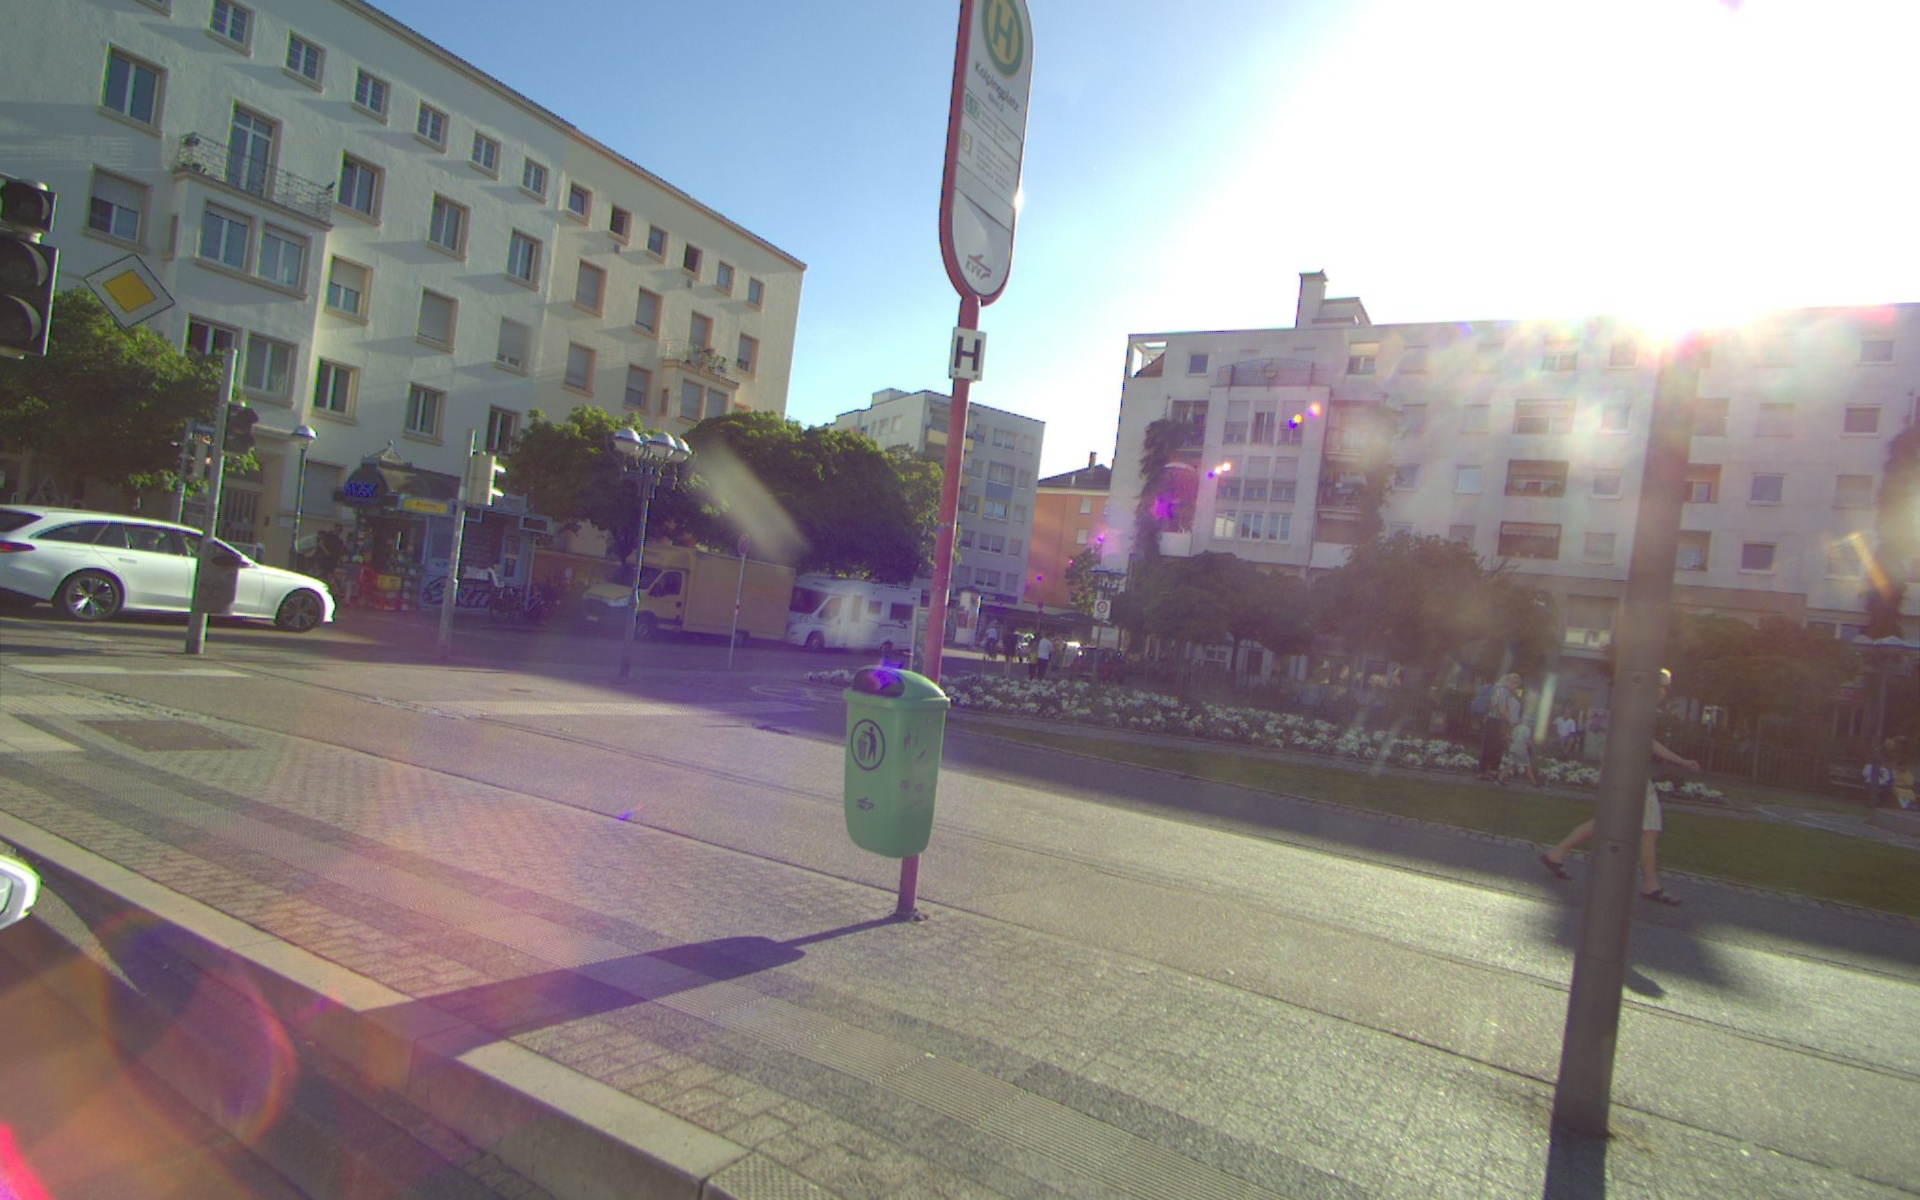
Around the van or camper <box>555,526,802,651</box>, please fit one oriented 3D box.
[{"bbox_3d":[-8.143,-0.192,30.170,2.331,2.780,7.132,9,0,33],"label":"van or camper"}]

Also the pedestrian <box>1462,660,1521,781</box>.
[{"bbox_3d":[8.225,1.860,15.551,0.520,1.765,0.557,6,-1,42],"label":"pedestrian"}]

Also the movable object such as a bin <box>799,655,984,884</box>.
[{"bbox_3d":[-0.271,0.657,4.052,0.481,0.795,0.449,7,0,35],"label":"movable object such as a bin"}]

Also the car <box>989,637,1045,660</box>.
[{"bbox_3d":[3.940,3.335,69.142,1.799,1.165,3.986,6,-2,39],"label":"car"}]

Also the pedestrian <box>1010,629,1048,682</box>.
[{"bbox_3d":[2.214,1.784,32.233,0.651,1.604,0.902,7,0,35],"label":"pedestrian"}]

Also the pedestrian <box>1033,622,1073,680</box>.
[{"bbox_3d":[2.757,1.530,29.865,0.651,1.604,0.902,7,0,35],"label":"pedestrian"}]

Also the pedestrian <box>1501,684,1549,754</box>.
[{"bbox_3d":[15.211,3.180,27.095,0.661,1.745,1.028,7,0,11],"label":"pedestrian"}]

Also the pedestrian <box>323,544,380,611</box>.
[{"bbox_3d":[-14.444,-0.537,23.876,0.742,1.427,0.731,11,2,32],"label":"pedestrian"}]

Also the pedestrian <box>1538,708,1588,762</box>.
[{"bbox_3d":[16.319,3.644,27.247,0.718,1.287,1.042,7,0,11],"label":"pedestrian"}]

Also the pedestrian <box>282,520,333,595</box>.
[{"bbox_3d":[-17.369,-1.121,26.785,0.668,1.861,0.785,7,0,35],"label":"pedestrian"}]

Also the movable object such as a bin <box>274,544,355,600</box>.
[{"bbox_3d":[-15.902,-0.691,24.784,1.197,1.167,1.200,7,-1,33],"label":"movable object such as a bin"}]

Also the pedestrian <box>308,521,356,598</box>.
[{"bbox_3d":[-16.071,-1.038,25.751,0.649,1.861,0.653,7,0,35],"label":"pedestrian"}]

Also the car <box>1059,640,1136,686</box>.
[{"bbox_3d":[5.558,2.538,40.298,1.964,1.503,4.000,7,-1,23],"label":"car"}]

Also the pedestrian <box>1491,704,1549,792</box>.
[{"bbox_3d":[8.181,2.160,14.696,0.550,1.182,0.469,6,-2,41],"label":"pedestrian"}]

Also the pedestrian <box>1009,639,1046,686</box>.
[{"bbox_3d":[2.052,1.898,30.478,0.595,1.295,0.902,7,0,35],"label":"pedestrian"}]

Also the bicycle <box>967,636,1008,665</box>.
[{"bbox_3d":[1.230,2.314,45.915,0.713,1.073,2.308,9,-2,-27],"label":"bicycle"}]

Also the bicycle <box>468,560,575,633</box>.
[{"bbox_3d":[-11.277,-0.053,25.979,0.714,1.548,2.391,7,-3,31],"label":"bicycle"}]

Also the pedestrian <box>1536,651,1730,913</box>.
[{"bbox_3d":[5.575,1.454,8.432,1.110,1.900,0.983,6,-1,30],"label":"pedestrian"}]

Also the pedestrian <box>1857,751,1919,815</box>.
[{"bbox_3d":[21.845,4.288,23.661,0.718,1.287,0.745,7,0,11],"label":"pedestrian"}]

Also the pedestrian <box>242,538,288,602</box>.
[{"bbox_3d":[-15.761,-0.687,22.827,0.736,1.332,0.622,7,0,-35],"label":"pedestrian"}]

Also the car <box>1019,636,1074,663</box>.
[{"bbox_3d":[6.378,3.612,73.778,1.971,1.514,3.986,6,-2,39],"label":"car"}]

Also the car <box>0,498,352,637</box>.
[{"bbox_3d":[-11.975,-0.436,14.865,1.954,1.481,4.819,7,-2,21],"label":"car"}]

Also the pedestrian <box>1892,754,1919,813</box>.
[{"bbox_3d":[22.546,4.325,23.504,0.718,1.287,0.745,7,0,11],"label":"pedestrian"}]

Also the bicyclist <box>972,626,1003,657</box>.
[{"bbox_3d":[1.241,1.878,46.014,0.943,1.239,0.928,9,-2,-27],"label":"bicyclist"}]

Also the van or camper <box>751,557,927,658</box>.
[{"bbox_3d":[-4.202,0.382,36.302,2.341,2.873,6.410,7,-1,35],"label":"van or camper"}]

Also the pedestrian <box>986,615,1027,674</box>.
[{"bbox_3d":[1.444,1.367,31.025,0.684,1.705,0.902,7,0,35],"label":"pedestrian"}]

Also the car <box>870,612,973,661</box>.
[{"bbox_3d":[-1.575,1.553,42.298,1.974,1.529,3.982,6,-3,43],"label":"car"}]

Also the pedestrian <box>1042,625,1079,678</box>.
[{"bbox_3d":[3.260,1.679,32.516,0.651,1.604,0.902,7,0,35],"label":"pedestrian"}]
